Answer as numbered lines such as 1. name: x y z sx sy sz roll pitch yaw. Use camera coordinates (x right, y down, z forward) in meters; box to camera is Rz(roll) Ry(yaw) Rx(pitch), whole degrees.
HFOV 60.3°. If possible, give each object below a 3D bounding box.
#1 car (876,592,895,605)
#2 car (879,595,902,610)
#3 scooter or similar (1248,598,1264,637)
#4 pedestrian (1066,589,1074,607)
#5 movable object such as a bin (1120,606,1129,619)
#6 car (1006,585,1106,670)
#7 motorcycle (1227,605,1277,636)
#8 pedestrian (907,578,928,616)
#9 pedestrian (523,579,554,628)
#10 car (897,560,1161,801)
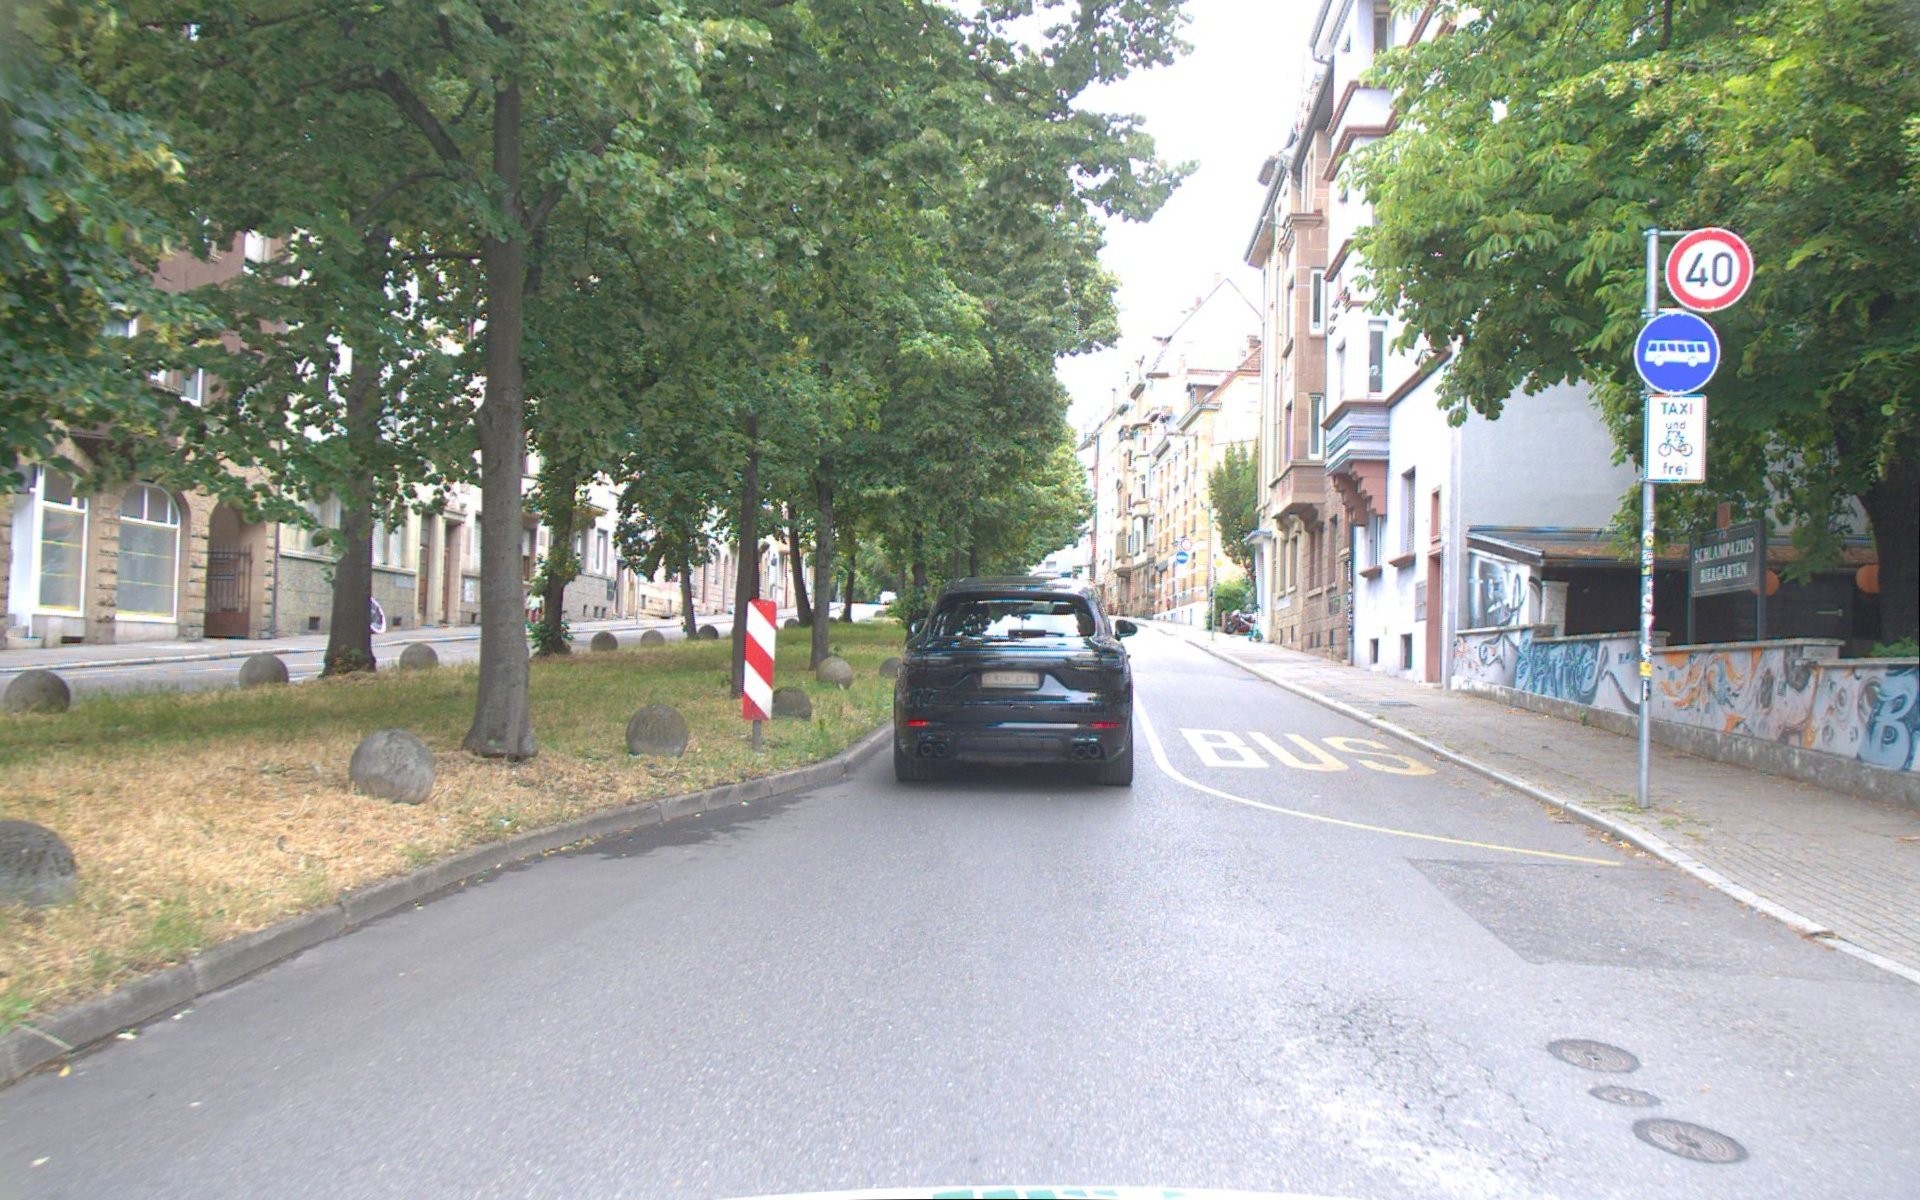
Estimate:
1. car: -7.994 -0.187 178.229 1.673 1.406 4.291 0 1 3
2. car: -6.659 0.196 159.409 1.672 1.406 4.671 0 1 5
3. scooter or similar: 10.029 0.588 56.111 0.401 1.231 1.146 -1 2 4
4. pedestrian: 10.927 -0.201 164.465 0.736 1.723 0.858 1 -2 -1
5. movable object such as a bin: 12.450 0.967 125.449 0.582 0.920 0.562 2 -1 -1
6. car: 1.929 0.548 32.362 1.726 1.491 3.594 2 -1 6
7. motorcycle: 13.096 0.928 74.298 2.013 1.290 1.010 3 0 0
8. pedestrian: -2.008 -0.149 78.297 0.816 1.742 1.123 -2 -3 4
9. pedestrian: -13.150 0.104 51.640 0.684 1.486 0.704 2 0 5
10. car: 0.593 0.558 14.445 1.952 1.694 4.002 1 2 2
